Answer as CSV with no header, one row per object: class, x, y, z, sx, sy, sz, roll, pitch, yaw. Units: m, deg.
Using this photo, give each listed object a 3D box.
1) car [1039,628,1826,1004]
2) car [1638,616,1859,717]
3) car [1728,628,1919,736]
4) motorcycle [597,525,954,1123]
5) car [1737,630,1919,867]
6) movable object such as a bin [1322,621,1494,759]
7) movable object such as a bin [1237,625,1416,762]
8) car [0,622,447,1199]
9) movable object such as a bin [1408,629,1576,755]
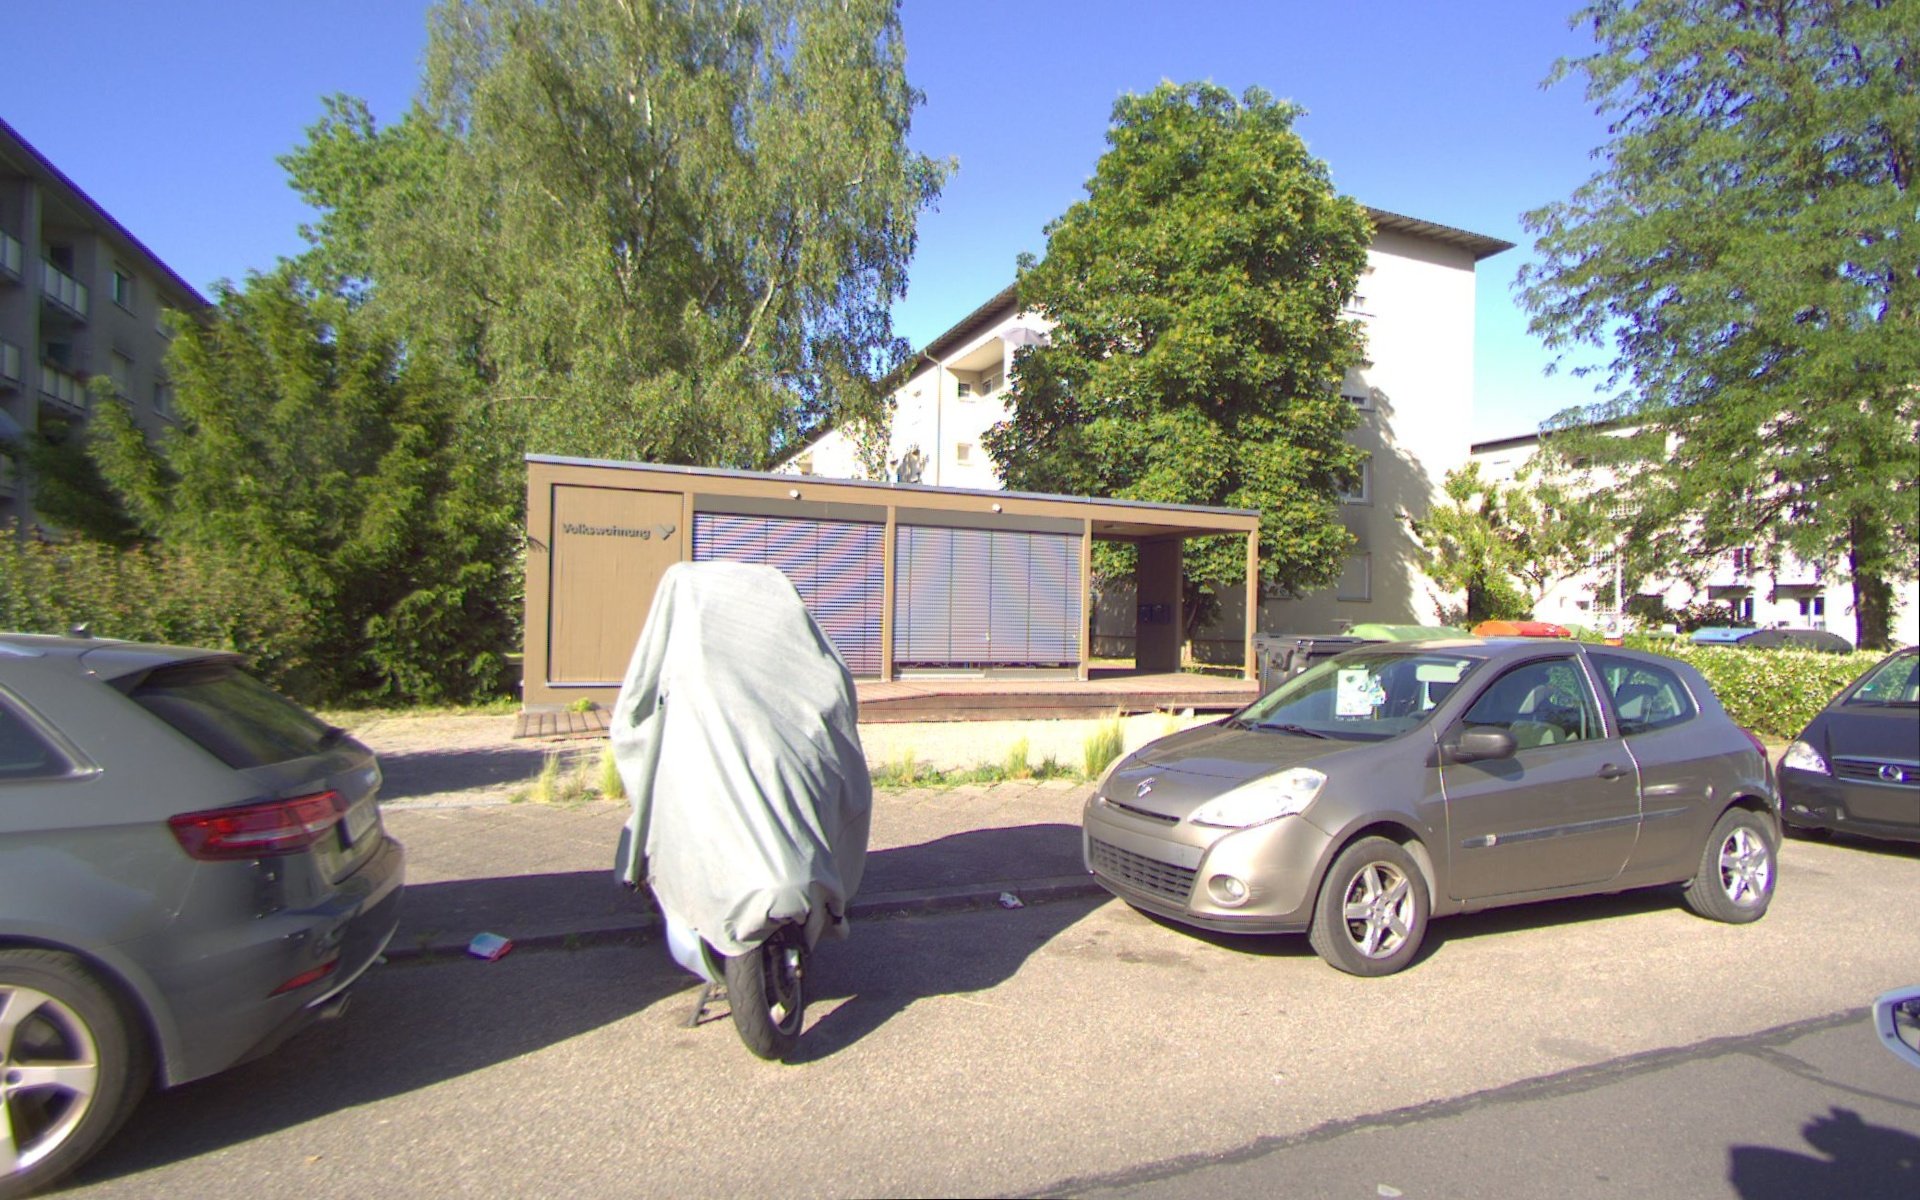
car,2.570,0.951,5.571,3.900,1.500,1.752,1,-3,-21
car,14.550,1.188,18.518,3.945,1.663,1.566,2,0,-25
car,14.595,1.280,16.424,3.945,1.545,1.566,2,0,-25
motorcycle,-0.908,0.720,4.185,0.920,1.749,2.250,2,-3,-25
car,8.063,1.062,7.742,3.669,1.594,1.750,2,-3,-24
movable object such as a bin,5.044,0.976,11.361,1.323,1.427,1.175,1,0,-22
movable object such as a bin,3.847,0.945,10.611,1.323,1.305,1.175,1,0,-22
car,-3.876,0.780,2.770,4.208,1.439,1.751,2,-3,-23
movable object such as a bin,6.301,1.052,11.938,1.323,1.358,1.175,1,0,-21
